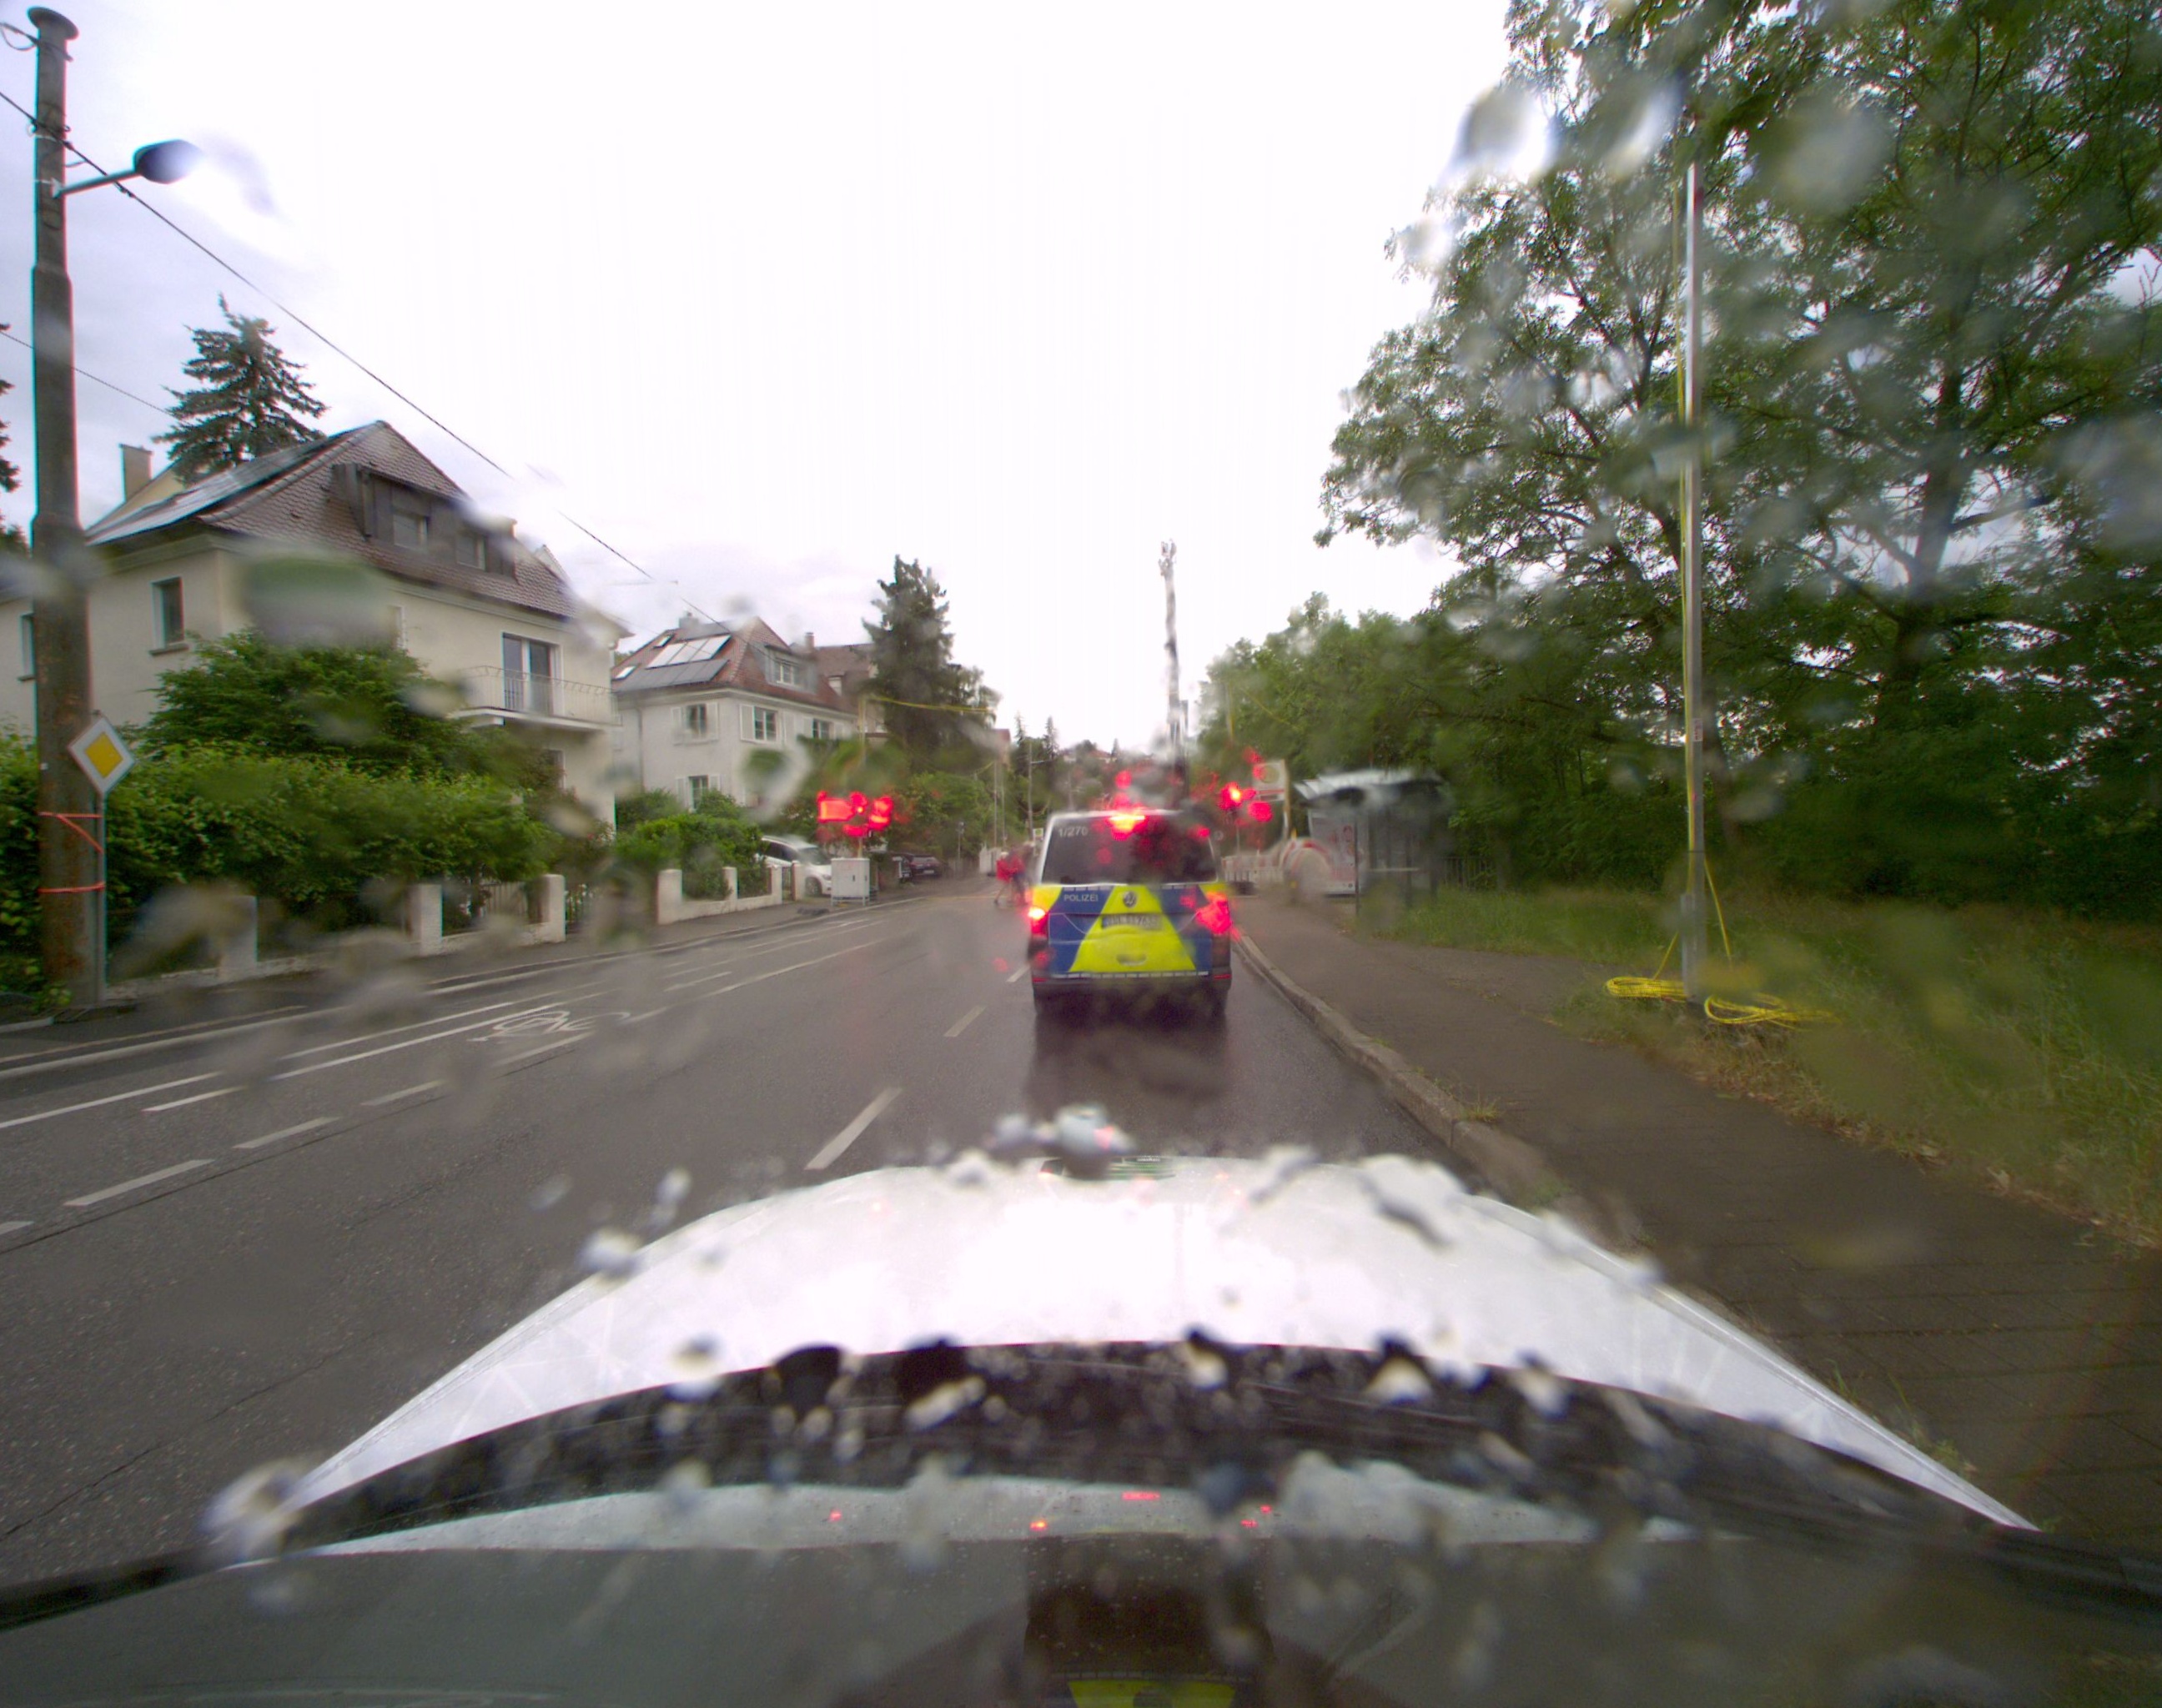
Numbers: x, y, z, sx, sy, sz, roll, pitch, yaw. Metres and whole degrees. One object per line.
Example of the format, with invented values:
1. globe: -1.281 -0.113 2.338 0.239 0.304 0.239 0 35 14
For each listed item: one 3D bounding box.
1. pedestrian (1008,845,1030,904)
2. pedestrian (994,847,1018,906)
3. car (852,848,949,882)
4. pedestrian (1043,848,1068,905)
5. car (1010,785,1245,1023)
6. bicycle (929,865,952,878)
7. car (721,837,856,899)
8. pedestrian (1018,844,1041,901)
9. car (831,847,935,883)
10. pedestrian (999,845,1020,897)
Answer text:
1. pedestrian: -1.766 0.576 23.220 0.546 1.668 0.414 0 -2 3
2. pedestrian: -2.046 0.618 22.316 0.560 1.582 0.468 0 -2 3
3. car: -8.284 0.525 37.461 3.960 1.486 1.765 0 -2 12
4. pedestrian: -0.691 0.621 22.051 0.623 1.522 0.593 0 -2 4
5. car: 0.493 0.412 9.174 1.985 2.013 4.405 -1 0 2
6. bicycle: -6.964 0.875 40.400 1.046 0.662 0.321 0 -2 12
7. car: -9.983 0.465 27.899 3.959 2.013 1.837 -1 0 13
8. pedestrian: -1.562 0.556 24.778 0.623 1.715 0.593 0 -2 4
9. car: -8.538 0.501 35.317 3.960 1.486 1.765 0 -2 12
10. pedestrian: -2.109 0.501 24.020 0.523 1.507 0.429 0 -2 3
